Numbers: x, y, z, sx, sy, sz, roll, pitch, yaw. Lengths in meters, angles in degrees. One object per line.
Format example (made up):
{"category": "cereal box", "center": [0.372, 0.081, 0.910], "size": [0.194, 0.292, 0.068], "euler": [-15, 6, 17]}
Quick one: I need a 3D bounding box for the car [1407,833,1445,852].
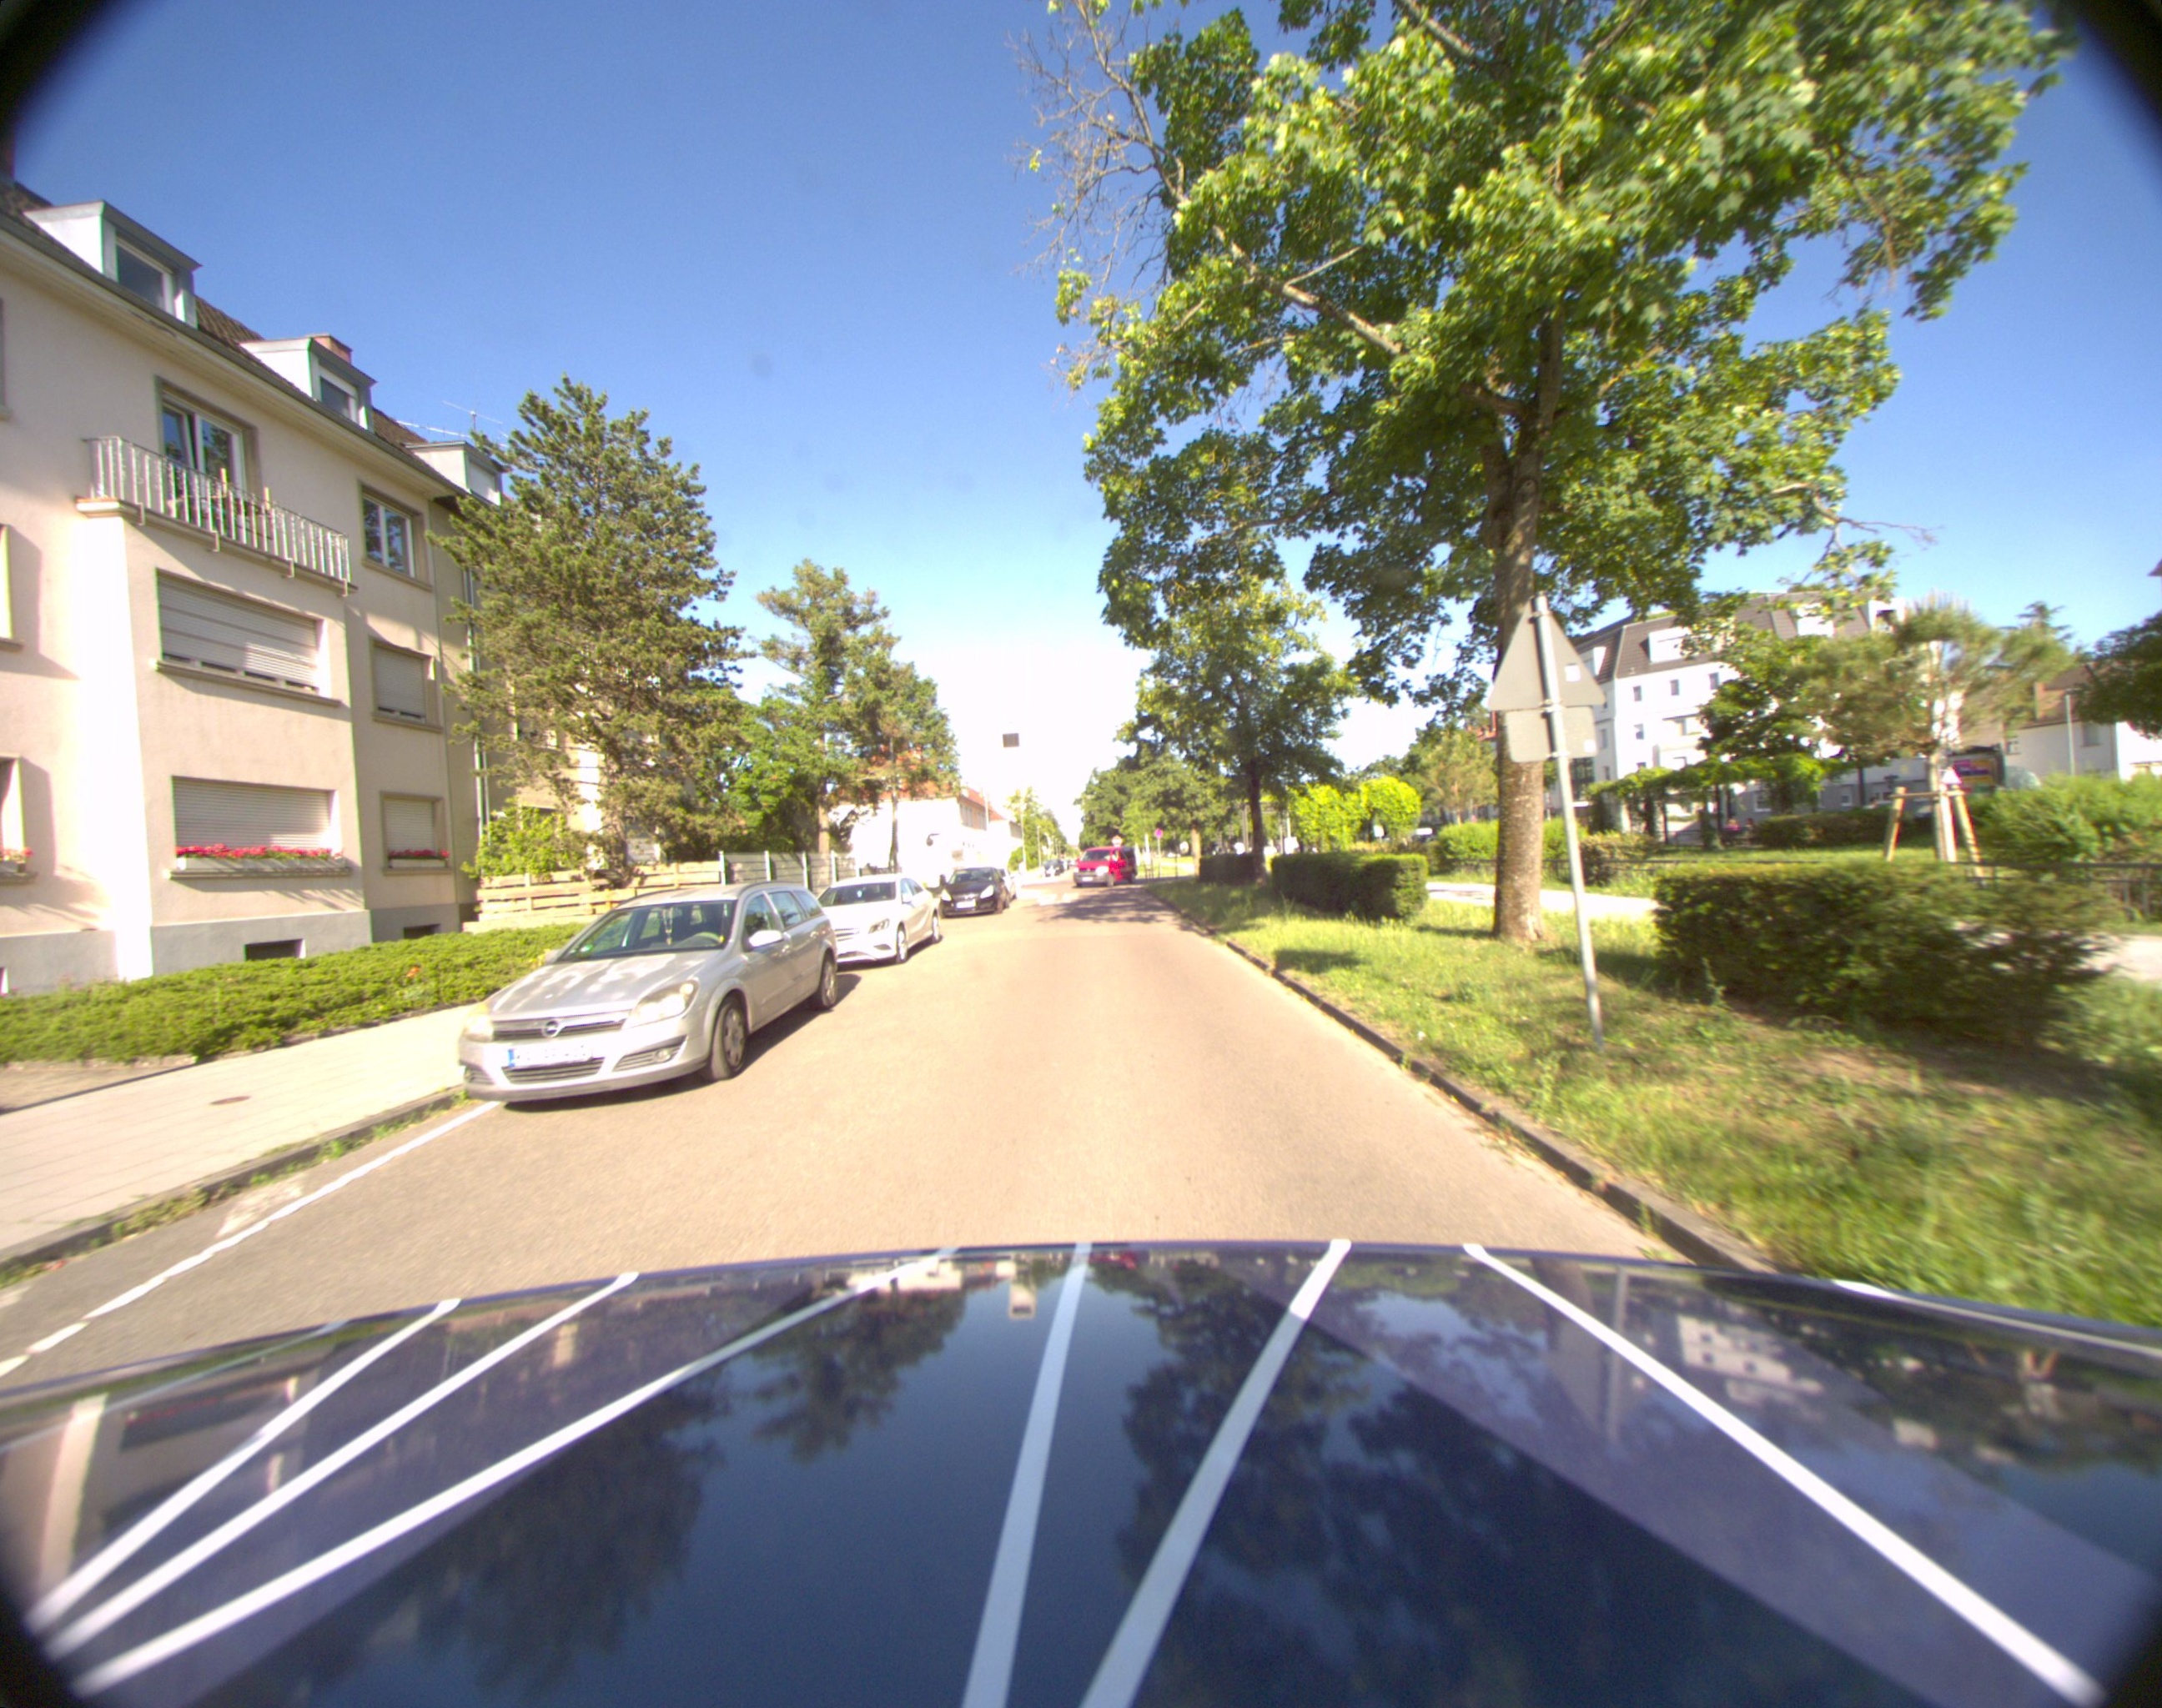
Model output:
{"category": "car", "center": [34.172, -1.121, 75.383], "size": [1.799, 1.683, 4.132], "euler": [-3, 0, 0]}

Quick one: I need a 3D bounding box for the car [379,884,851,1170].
{"category": "car", "center": [-3.562, 1.160, 6.955], "size": [1.664, 1.456, 4.410], "euler": [-5, 0, -3]}

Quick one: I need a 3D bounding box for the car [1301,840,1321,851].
{"category": "car", "center": [34.262, -1.245, 113.316], "size": [1.799, 1.501, 4.000], "euler": [-3, 0, 0]}

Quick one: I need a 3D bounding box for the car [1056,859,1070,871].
{"category": "car", "center": [-2.435, 1.504, 104.008], "size": [1.799, 1.529, 4.001], "euler": [-4, -1, 0]}

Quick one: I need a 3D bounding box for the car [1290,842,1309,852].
{"category": "car", "center": [34.723, -1.171, 120.933], "size": [1.799, 1.501, 4.000], "euler": [-3, 0, 0]}

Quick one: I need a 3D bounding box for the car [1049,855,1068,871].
{"category": "car", "center": [-2.430, 1.005, 83.568], "size": [1.799, 1.529, 4.001], "euler": [-4, -1, 0]}

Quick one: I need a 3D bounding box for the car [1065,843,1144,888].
{"category": "car", "center": [1.287, 0.522, 38.339], "size": [2.088, 2.000, 4.852], "euler": [-3, 0, 26]}

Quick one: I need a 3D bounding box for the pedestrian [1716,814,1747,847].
{"category": "pedestrian", "center": [25.522, -0.913, 29.818], "size": [0.649, 1.231, 0.650], "euler": [-4, 1, 7]}

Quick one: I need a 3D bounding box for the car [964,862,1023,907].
{"category": "car", "center": [-3.367, 1.146, 29.910], "size": [1.676, 1.414, 4.134], "euler": [-5, 0, 1]}

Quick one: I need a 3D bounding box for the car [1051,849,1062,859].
{"category": "car", "center": [-4.405, 0.028, 136.027], "size": [1.799, 1.529, 4.001], "euler": [-4, -1, 0]}

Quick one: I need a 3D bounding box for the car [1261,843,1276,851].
{"category": "car", "center": [35.096, -1.284, 142.619], "size": [1.799, 1.501, 4.000], "euler": [-3, 0, 0]}

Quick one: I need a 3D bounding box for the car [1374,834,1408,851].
{"category": "car", "center": [34.057, -1.271, 83.623], "size": [2.057, 1.683, 4.406], "euler": [-3, 0, 3]}

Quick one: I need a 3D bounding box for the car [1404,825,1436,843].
{"category": "car", "center": [40.342, -2.377, 90.515], "size": [1.941, 2.017, 4.406], "euler": [-3, 0, 2]}

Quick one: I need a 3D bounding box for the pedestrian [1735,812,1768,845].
{"category": "pedestrian", "center": [26.236, -0.972, 29.739], "size": [0.649, 1.231, 0.650], "euler": [-4, 1, 7]}

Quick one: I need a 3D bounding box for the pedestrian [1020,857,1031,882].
{"category": "pedestrian", "center": [-3.801, 1.075, 51.783], "size": [0.650, 1.658, 0.649], "euler": [-3, 3, -8]}

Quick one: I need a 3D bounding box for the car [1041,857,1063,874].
{"category": "car", "center": [-2.737, 1.110, 72.926], "size": [1.799, 1.529, 4.001], "euler": [-4, -1, 0]}

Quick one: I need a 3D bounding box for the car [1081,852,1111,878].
{"category": "car", "center": [0.961, 0.726, 50.117], "size": [1.799, 1.524, 4.001], "euler": [-4, -1, 0]}

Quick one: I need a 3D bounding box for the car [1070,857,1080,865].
{"category": "car", "center": [-1.202, 1.400, 154.211], "size": [1.799, 1.529, 4.001], "euler": [-4, -1, 0]}

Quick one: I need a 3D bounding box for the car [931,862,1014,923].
{"category": "car", "center": [-3.251, 1.102, 23.493], "size": [1.799, 1.501, 3.994], "euler": [-5, 0, 1]}

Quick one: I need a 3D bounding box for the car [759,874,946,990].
{"category": "car", "center": [-3.724, 1.202, 13.267], "size": [1.799, 1.413, 4.288], "euler": [-5, 0, 1]}
